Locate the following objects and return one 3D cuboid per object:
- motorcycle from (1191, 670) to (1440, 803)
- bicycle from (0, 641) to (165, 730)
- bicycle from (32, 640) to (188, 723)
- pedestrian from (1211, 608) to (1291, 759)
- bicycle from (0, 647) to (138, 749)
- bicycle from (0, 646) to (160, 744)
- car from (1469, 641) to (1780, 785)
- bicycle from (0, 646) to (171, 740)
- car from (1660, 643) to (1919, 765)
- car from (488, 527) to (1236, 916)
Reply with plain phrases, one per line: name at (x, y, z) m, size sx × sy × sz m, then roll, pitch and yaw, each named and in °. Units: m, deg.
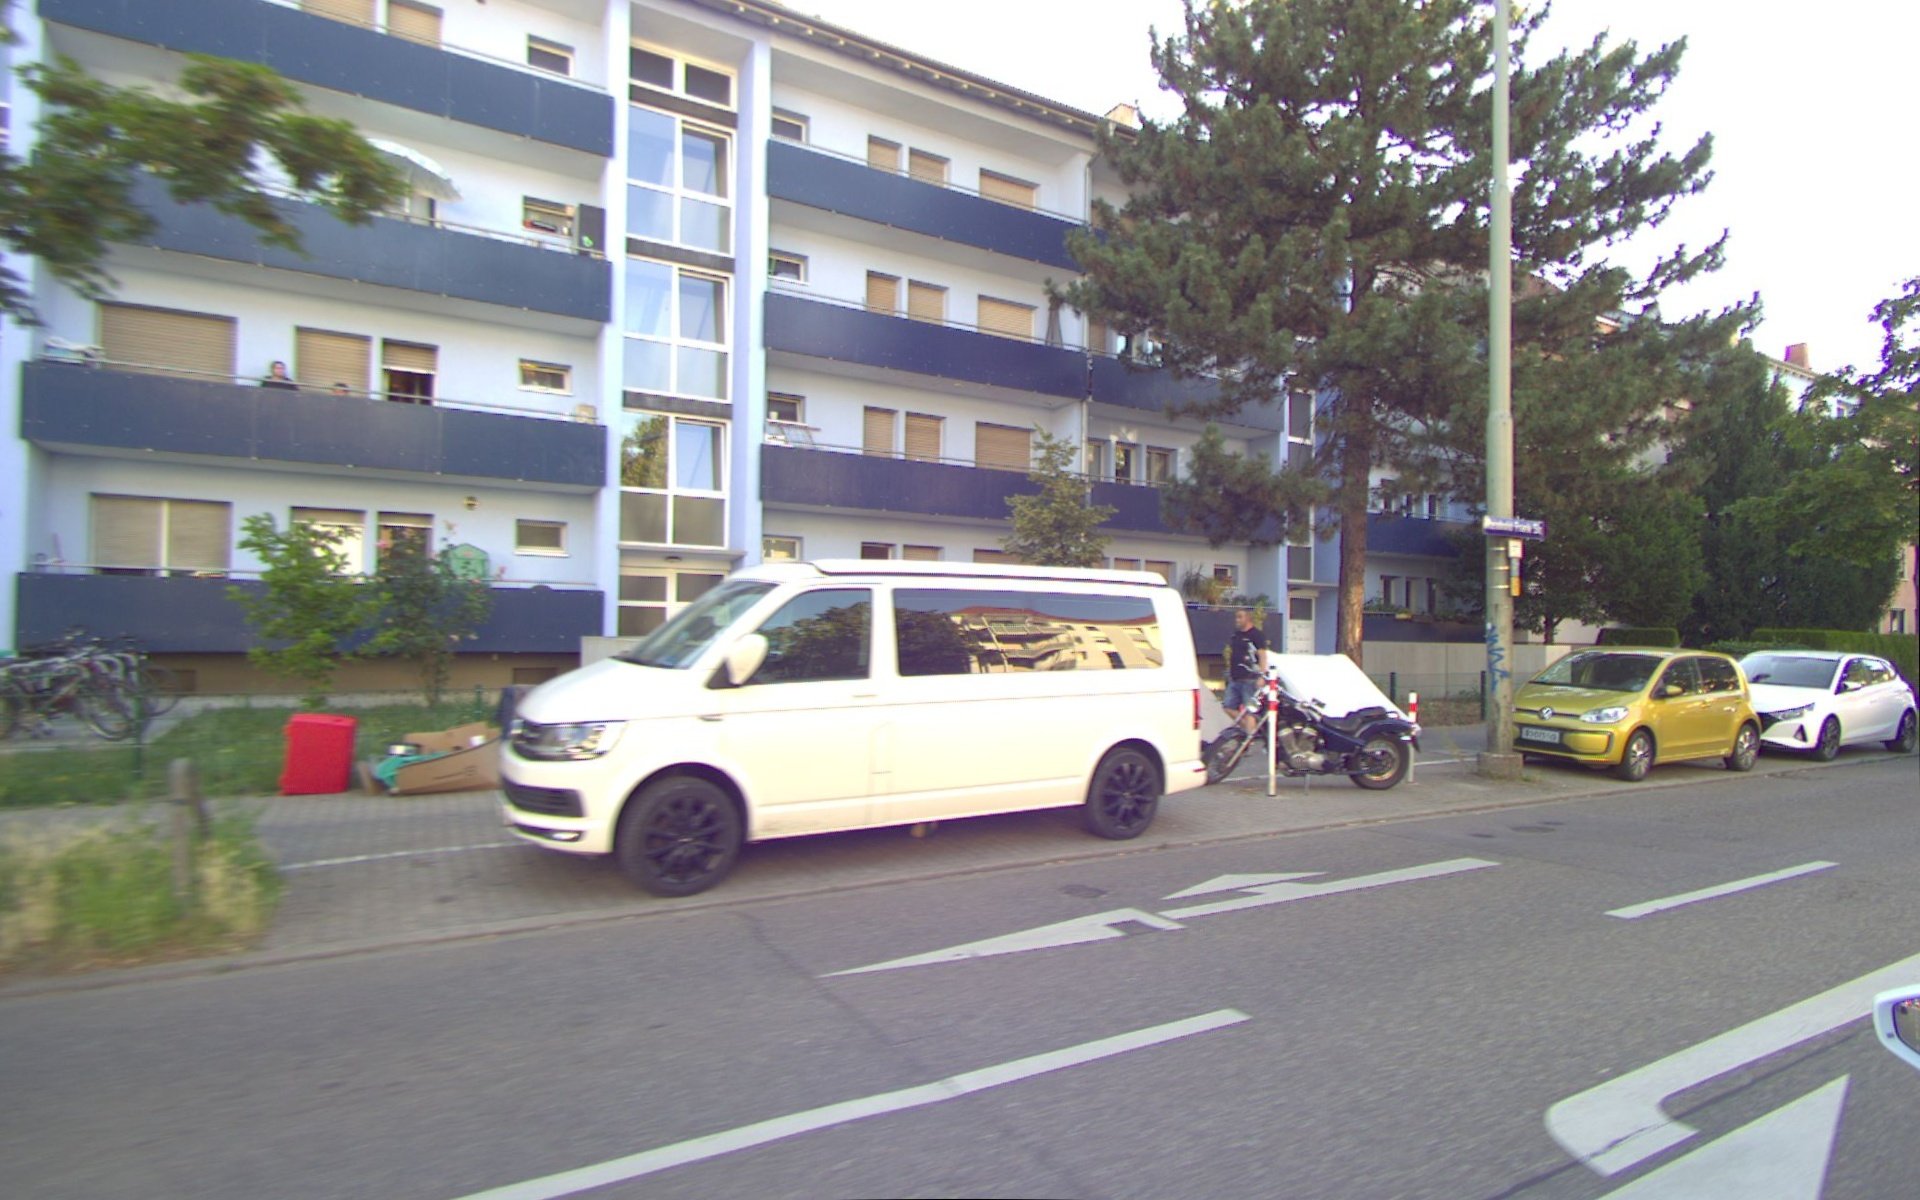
motorcycle at (3.496, 1.316, 9.934) m, size 2.289 × 1.220 × 0.660 m, roll 0°, pitch -2°, yaw -9°
bicycle at (-10.695, 1.025, 12.263) m, size 1.464 × 1.028 × 0.436 m, roll 2°, pitch -2°, yaw -29°
bicycle at (-10.998, 1.045, 13.050) m, size 1.459 × 1.028 × 0.436 m, roll 2°, pitch -2°, yaw -29°
pedestrian at (3.600, 1.014, 12.428) m, size 0.687 × 1.793 × 0.658 m, roll 2°, pitch -2°, yaw -31°
bicycle at (-9.627, 1.015, 10.547) m, size 1.459 × 1.028 × 0.436 m, roll 2°, pitch -2°, yaw -29°
bicycle at (-9.796, 1.021, 10.976) m, size 1.555 × 1.028 × 0.436 m, roll 2°, pitch -2°, yaw -29°
car at (8.328, 1.312, 12.541) m, size 3.823 × 1.500 × 1.612 m, roll 2°, pitch 0°, yaw -28°
bicycle at (-10.056, 1.043, 11.553) m, size 1.459 × 1.028 × 0.436 m, roll 2°, pitch -2°, yaw -29°
car at (12.468, 1.462, 14.952) m, size 3.921 × 1.514 × 1.774 m, roll 2°, pitch 0°, yaw -28°
car at (-0.518, 0.718, 7.479) m, size 5.240 × 2.058 × 1.859 m, roll 2°, pitch -1°, yaw -31°
